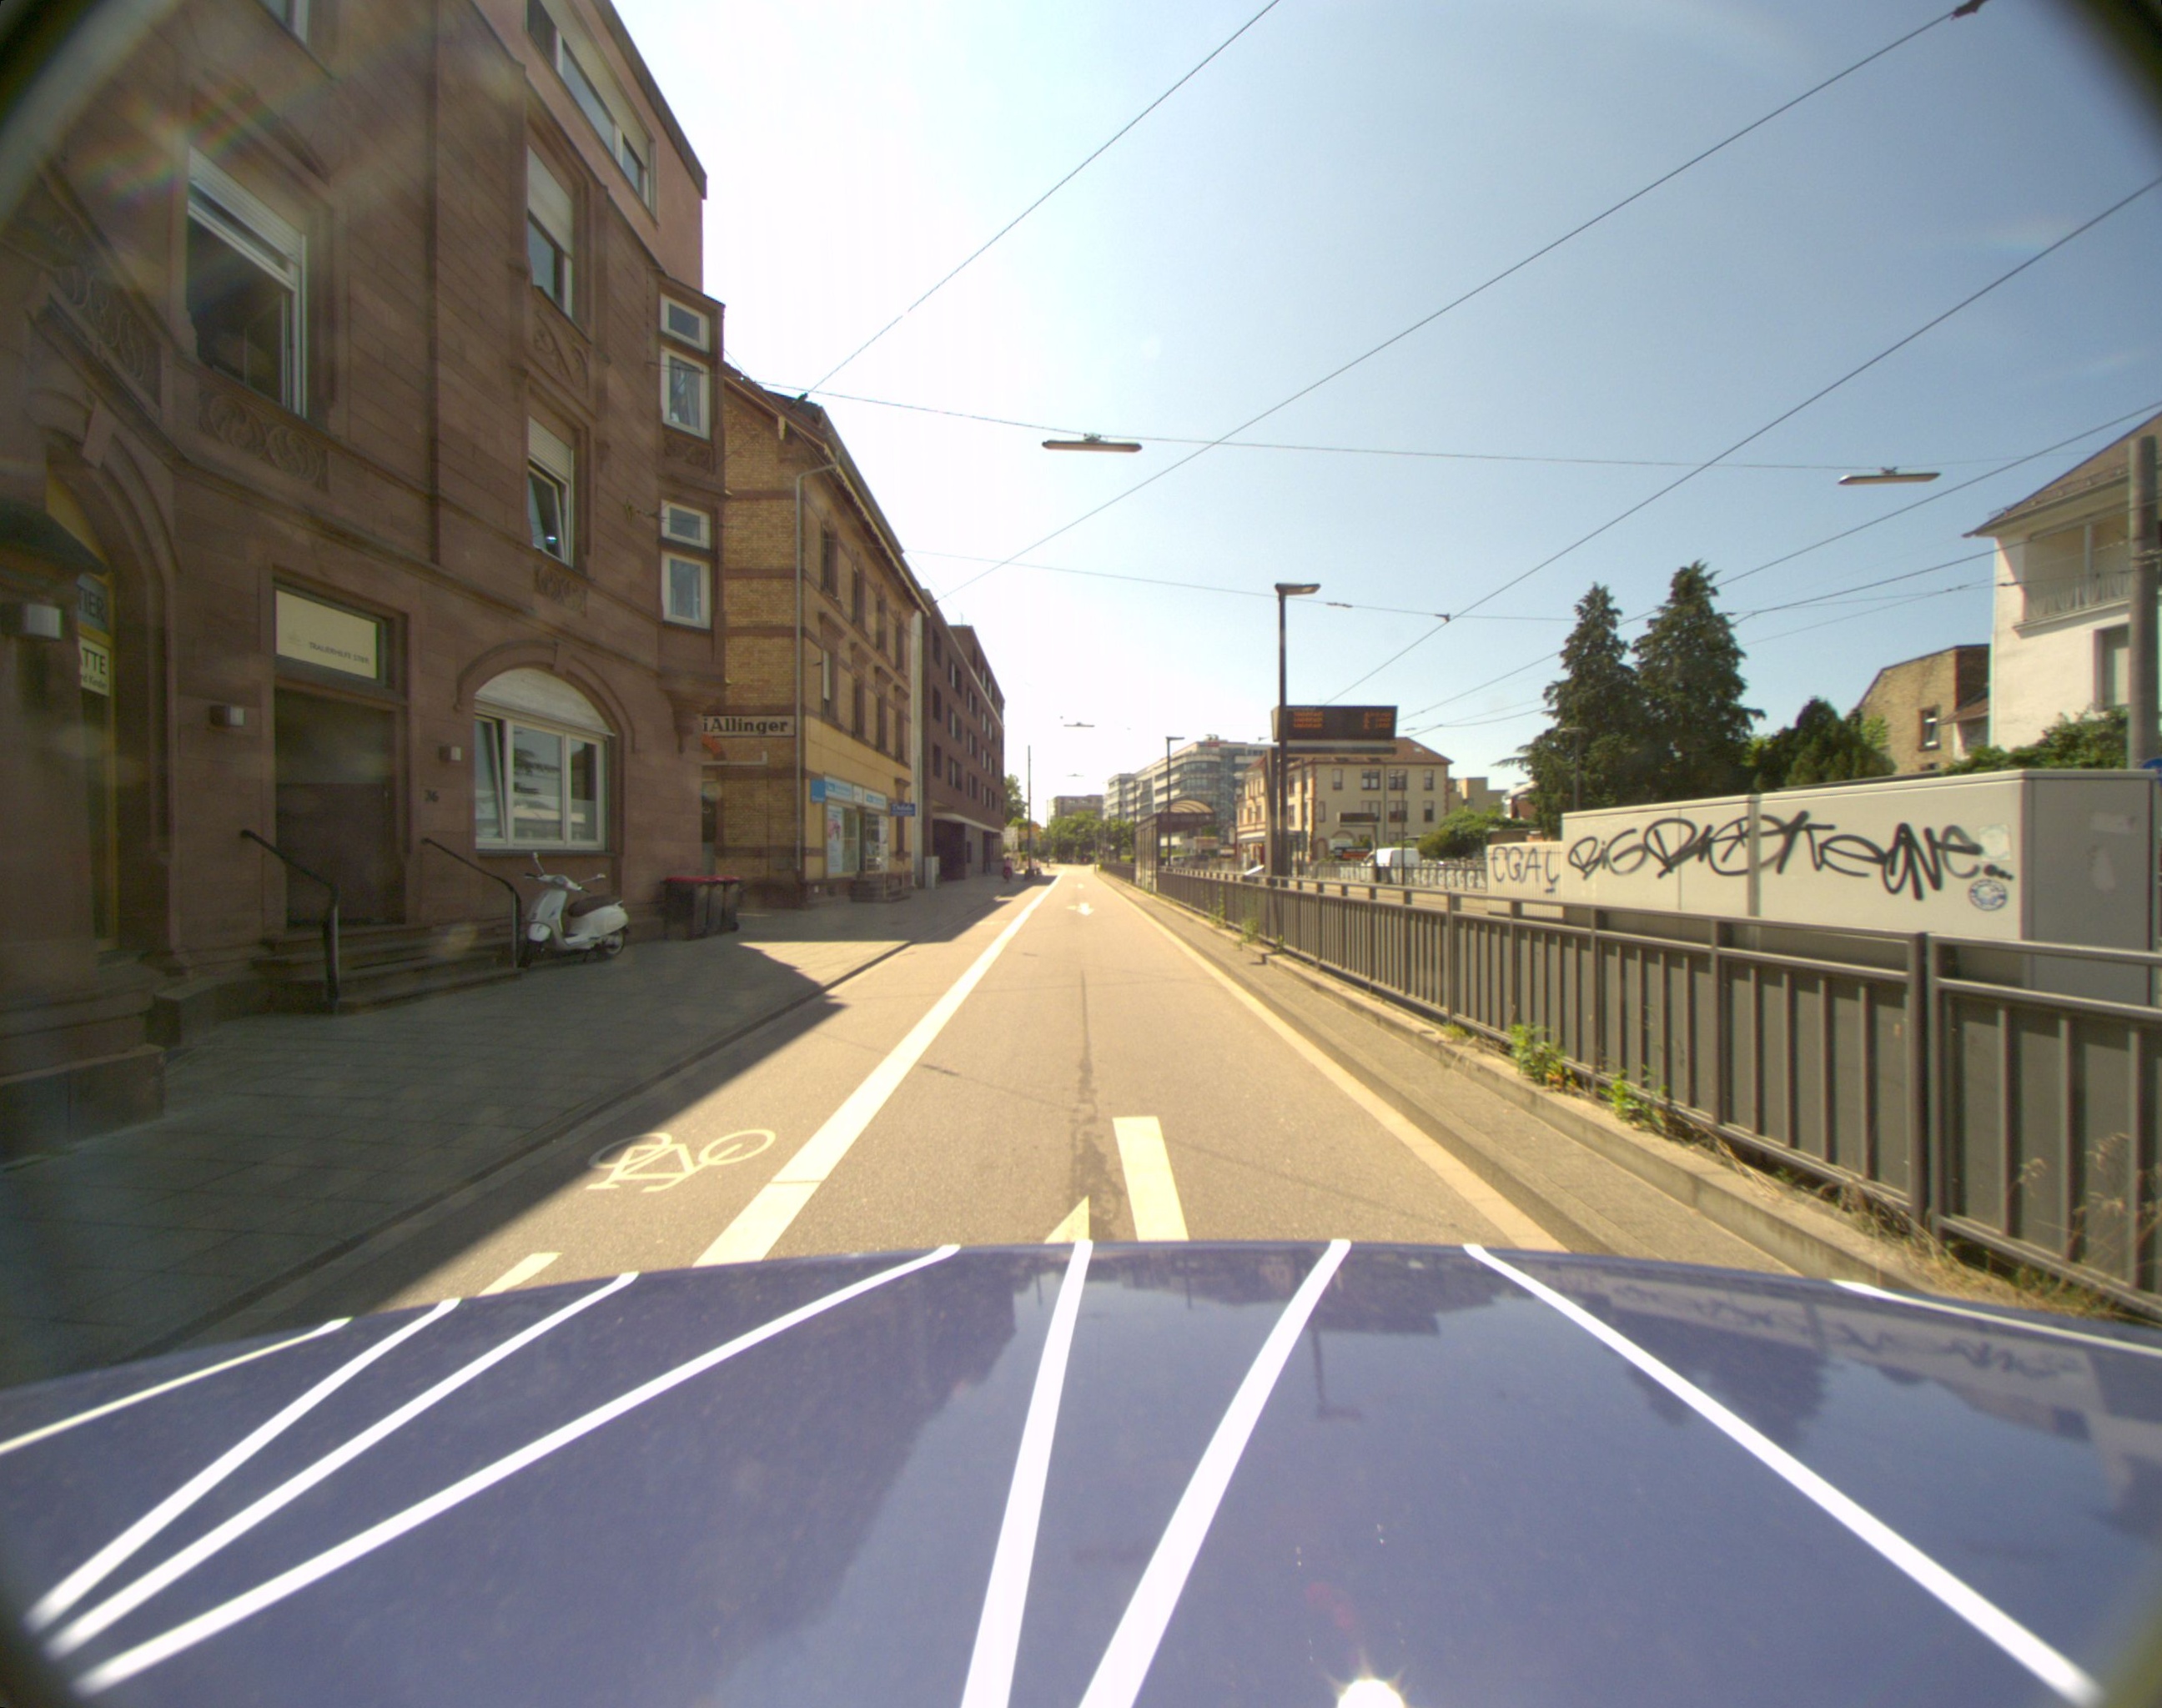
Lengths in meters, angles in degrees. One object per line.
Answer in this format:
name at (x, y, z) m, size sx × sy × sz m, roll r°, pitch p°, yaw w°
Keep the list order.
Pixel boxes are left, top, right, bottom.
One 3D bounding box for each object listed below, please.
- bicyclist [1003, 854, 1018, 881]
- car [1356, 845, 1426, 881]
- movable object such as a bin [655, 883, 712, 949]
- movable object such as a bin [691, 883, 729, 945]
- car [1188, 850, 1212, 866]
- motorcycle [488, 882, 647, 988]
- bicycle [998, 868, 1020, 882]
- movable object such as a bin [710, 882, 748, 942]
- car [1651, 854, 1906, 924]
bicyclist at (-4.492, 0.871, 48.490) m, size 0.670 × 1.712 × 0.929 m, roll 0°, pitch 0°, yaw 18°
car at (16.408, 0.463, 40.489) m, size 1.860 × 1.806 × 4.698 m, roll 1°, pitch 0°, yaw 2°
movable object such as a bin at (-6.684, 1.030, 12.796) m, size 0.649 × 1.042 × 0.559 m, roll 2°, pitch 1°, yaw -1°
movable object such as a bin at (-6.524, 1.048, 13.373) m, size 0.376 × 1.042 × 0.559 m, roll 2°, pitch 1°, yaw 0°
car at (13.841, 0.495, 88.455) m, size 1.999 × 1.827 × 3.999 m, roll -1°, pitch 0°, yaw -1°
motorcycle at (-6.439, 0.963, 9.658) m, size 0.527 × 1.142 × 1.881 m, roll 0°, pitch 0°, yaw 8°
bicycle at (-4.555, 1.327, 48.290) m, size 0.689 × 0.793 × 1.910 m, roll -1°, pitch 0°, yaw 17°
movable object such as a bin at (-6.465, 1.046, 13.965) m, size 0.376 × 1.042 × 0.657 m, roll 2°, pitch 0°, yaw 0°
car at (16.436, 0.740, 18.320) m, size 1.823 × 1.459 × 4.622 m, roll 1°, pitch 0°, yaw -1°
